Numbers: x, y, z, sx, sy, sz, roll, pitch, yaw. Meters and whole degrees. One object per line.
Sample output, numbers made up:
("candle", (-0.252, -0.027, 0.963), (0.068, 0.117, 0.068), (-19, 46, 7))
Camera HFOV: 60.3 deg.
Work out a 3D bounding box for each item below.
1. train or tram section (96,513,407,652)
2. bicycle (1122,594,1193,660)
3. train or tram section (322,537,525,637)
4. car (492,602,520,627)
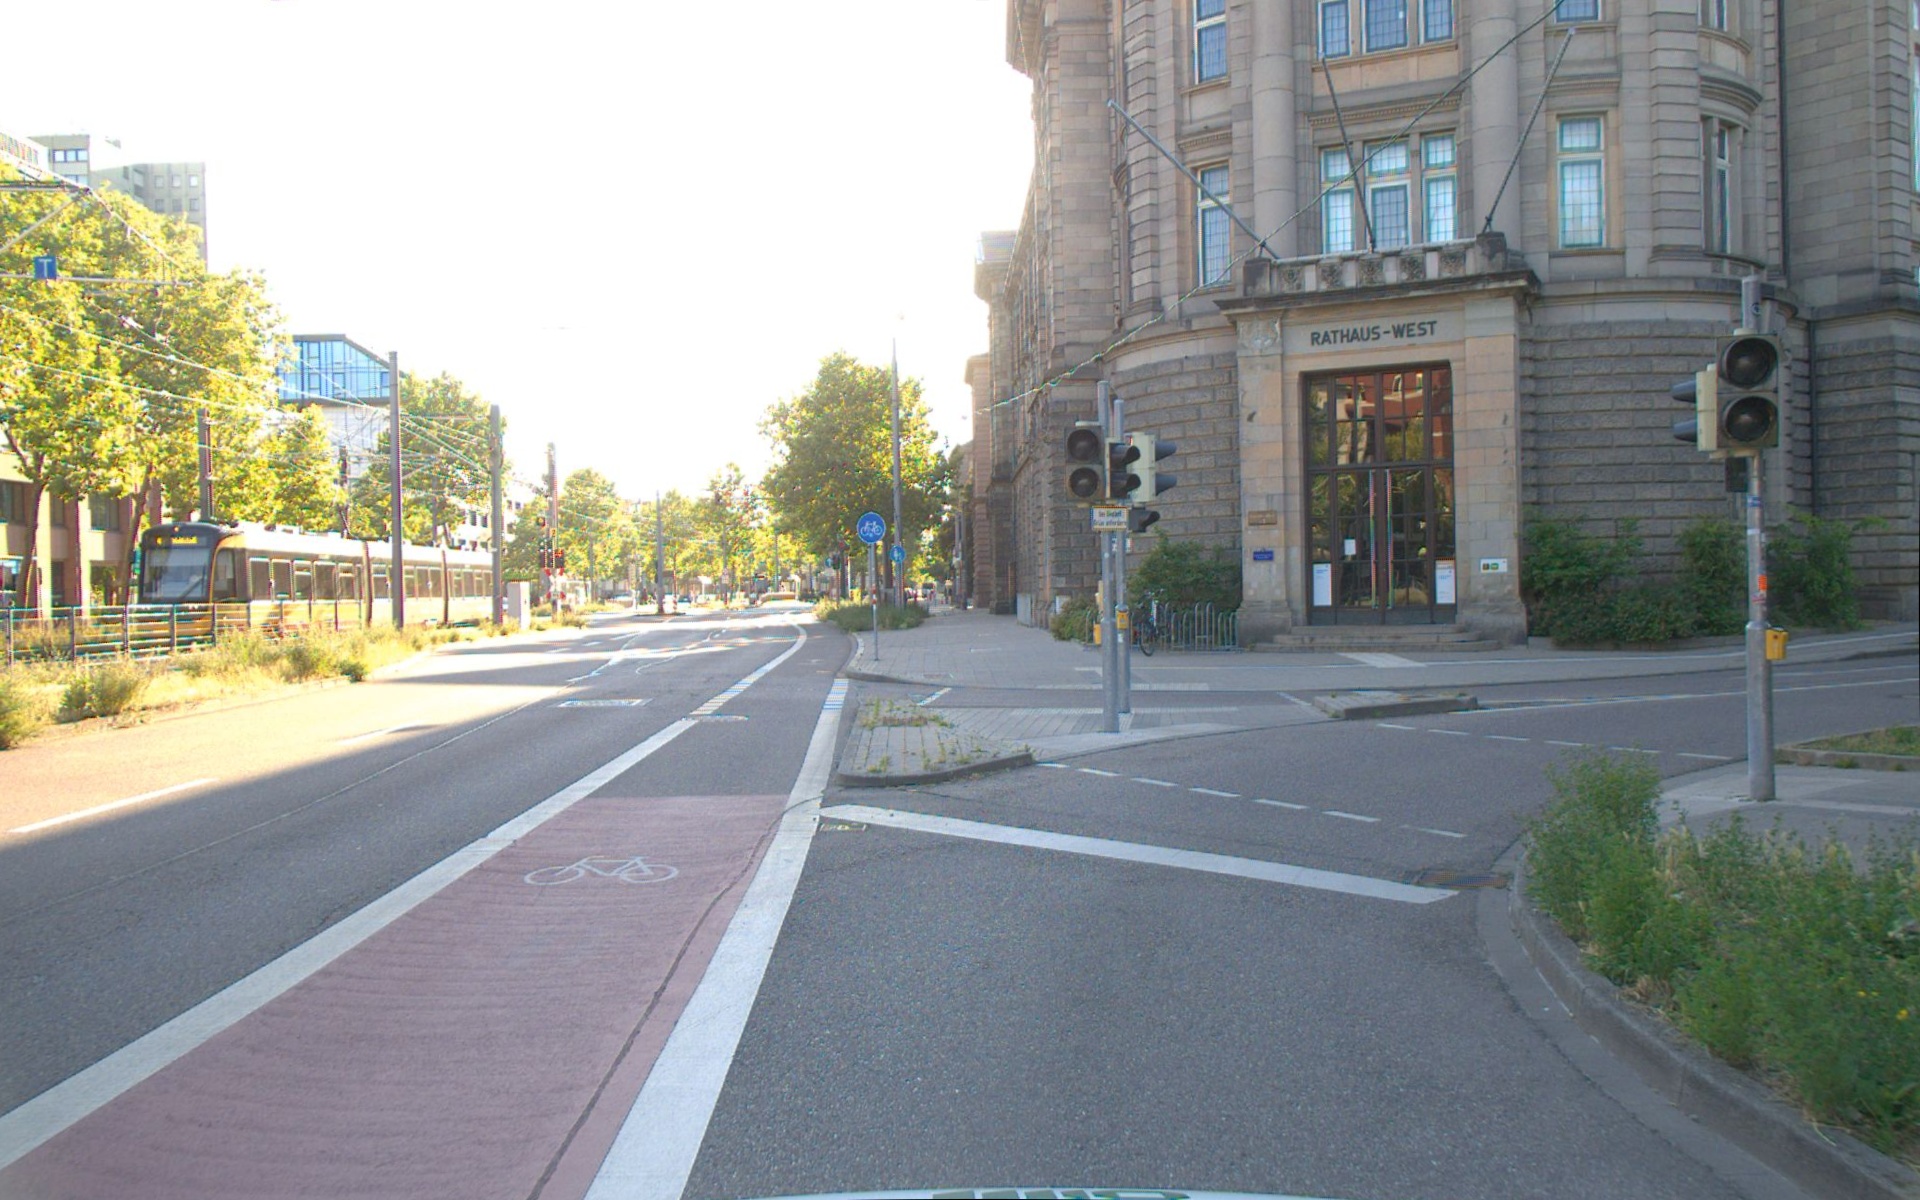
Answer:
("train or tram section", (-21.772, -0.471, 52.735), (3.050, 3.621, 17.468), (-2, 0, -3))
("bicycle", (3.944, 0.519, 32.837), (0.849, 1.217, 2.239), (-2, 0, 21))
("train or tram section", (-22.557, -0.506, 71.387), (3.050, 3.621, 19.922), (-2, 0, -3))
("car", (-30.129, 0.959, 109.819), (1.578, 1.555, 3.545), (-2, 0, -13))
